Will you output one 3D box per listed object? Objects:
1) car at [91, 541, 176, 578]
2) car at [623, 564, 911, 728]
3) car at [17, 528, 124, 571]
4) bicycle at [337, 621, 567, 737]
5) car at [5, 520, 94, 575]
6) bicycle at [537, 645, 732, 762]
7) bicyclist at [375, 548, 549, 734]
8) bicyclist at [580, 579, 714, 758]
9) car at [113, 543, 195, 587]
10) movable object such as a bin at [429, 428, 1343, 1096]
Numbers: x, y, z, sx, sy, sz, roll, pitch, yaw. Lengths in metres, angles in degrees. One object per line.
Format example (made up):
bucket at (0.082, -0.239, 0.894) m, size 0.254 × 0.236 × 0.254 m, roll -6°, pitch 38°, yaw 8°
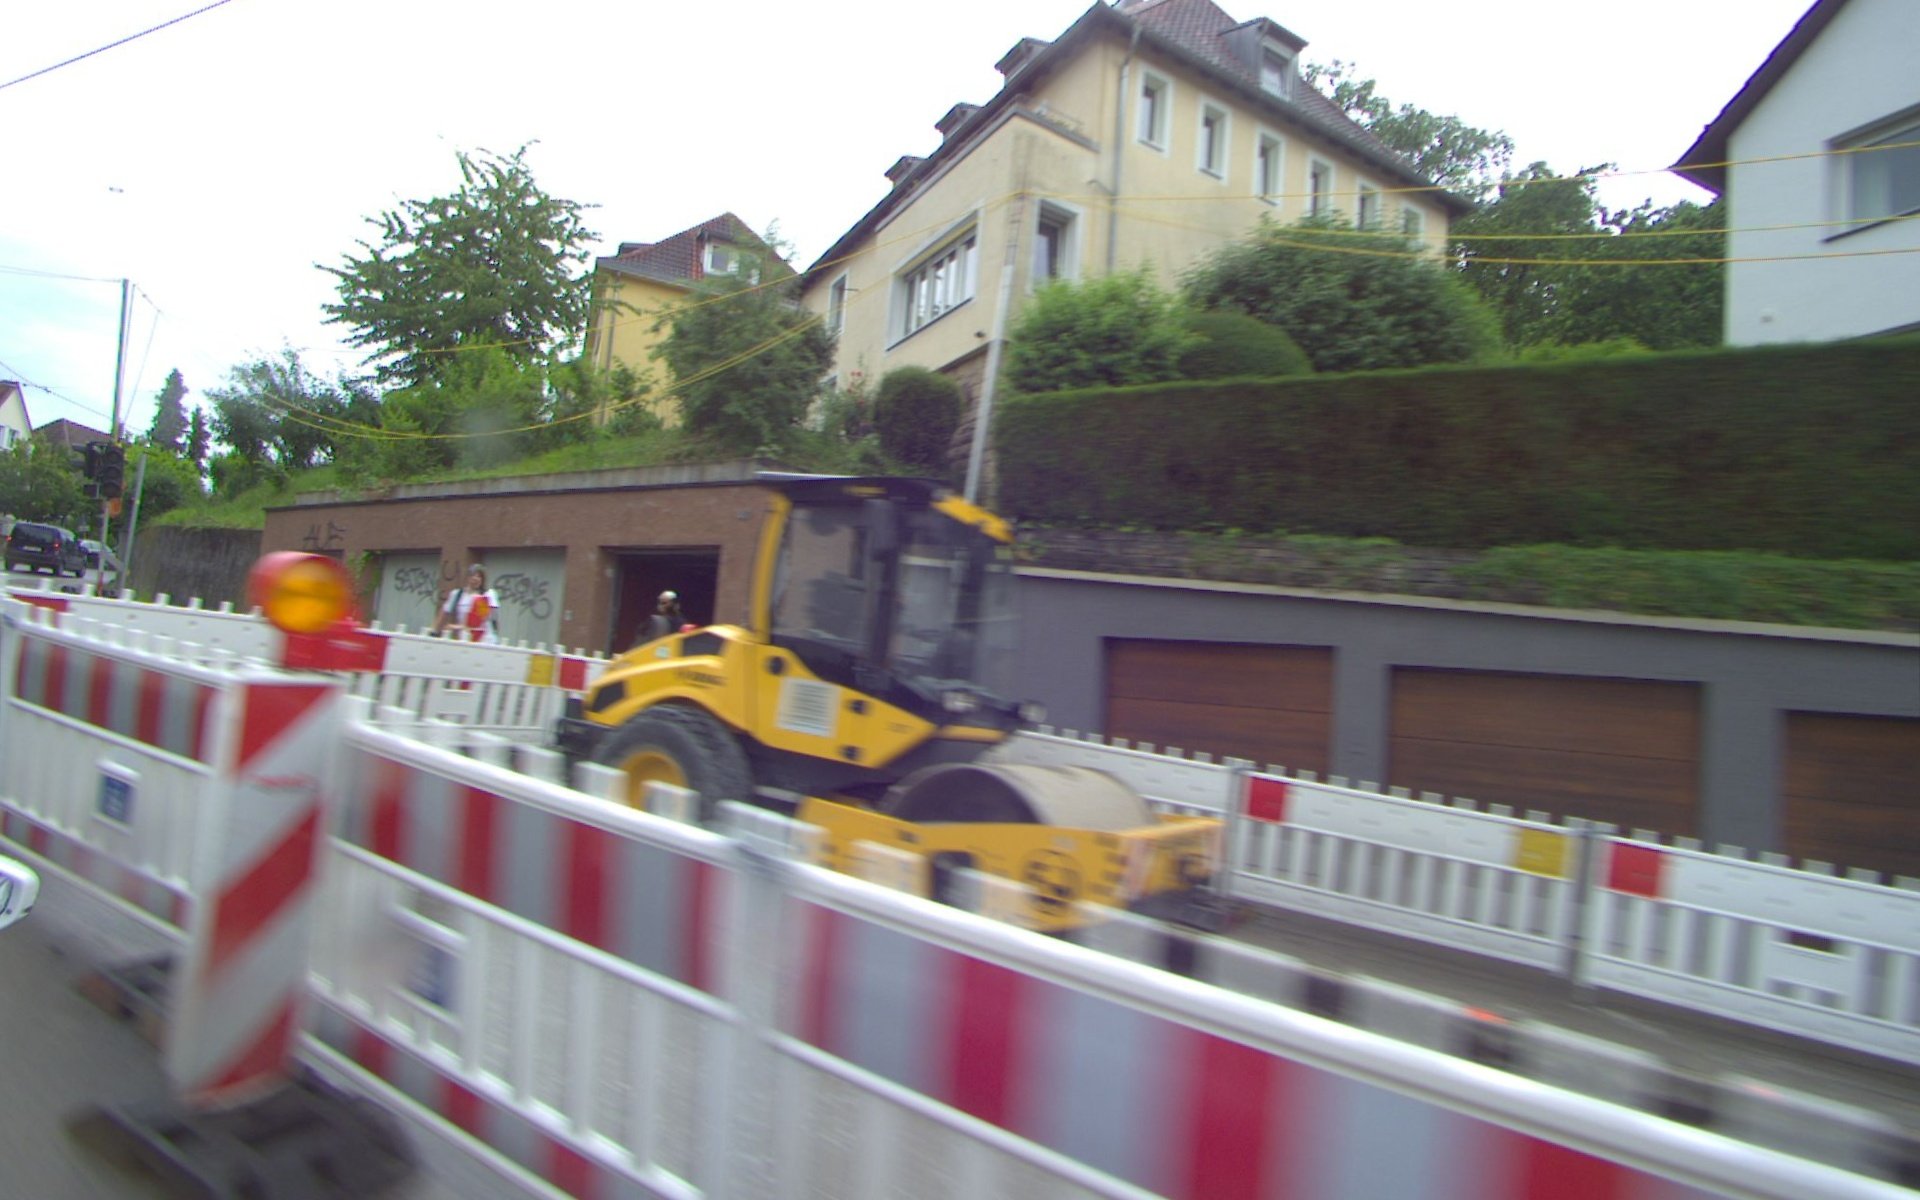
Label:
car at (-47.730, -2.311, 58.223) m, size 1.709 × 1.562 × 4.210 m, roll 7°, pitch -3°, yaw -8°
car at (-2.705, 0.825, 15.251) m, size 1.785 × 2.034 × 4.390 m, roll 1°, pitch -7°, yaw 29°
car at (-46.963, -2.614, 53.277) m, size 1.842 × 1.562 × 4.902 m, roll 7°, pitch -4°, yaw -10°
bicycle at (-5.182, 0.846, 10.425) m, size 0.916 × 0.991 × 1.887 m, roll 6°, pitch -4°, yaw 22°
car at (-35.138, -2.048, 38.921) m, size 1.722 × 1.790 × 4.198 m, roll 7°, pitch 0°, yaw -33°
bicycle at (-3.511, 1.110, 10.843) m, size 1.808 × 0.991 × 0.928 m, roll 9°, pitch -4°, yaw -25°
bicyclist at (-5.142, 0.451, 10.441) m, size 0.916 × 1.747 × 1.078 m, roll 6°, pitch -3°, yaw 22°
bicyclist at (-3.401, 0.734, 10.895) m, size 1.064 × 1.747 × 0.928 m, roll 9°, pitch -3°, yaw -25°
car at (-39.728, -1.694, 49.696) m, size 1.715 × 1.788 × 4.218 m, roll 8°, pitch -3°, yaw -20°
movable object such as a bin at (-0.728, 0.562, 6.699) m, size 5.582 × 2.870 × 2.092 m, roll 6°, pitch -3°, yaw 31°
